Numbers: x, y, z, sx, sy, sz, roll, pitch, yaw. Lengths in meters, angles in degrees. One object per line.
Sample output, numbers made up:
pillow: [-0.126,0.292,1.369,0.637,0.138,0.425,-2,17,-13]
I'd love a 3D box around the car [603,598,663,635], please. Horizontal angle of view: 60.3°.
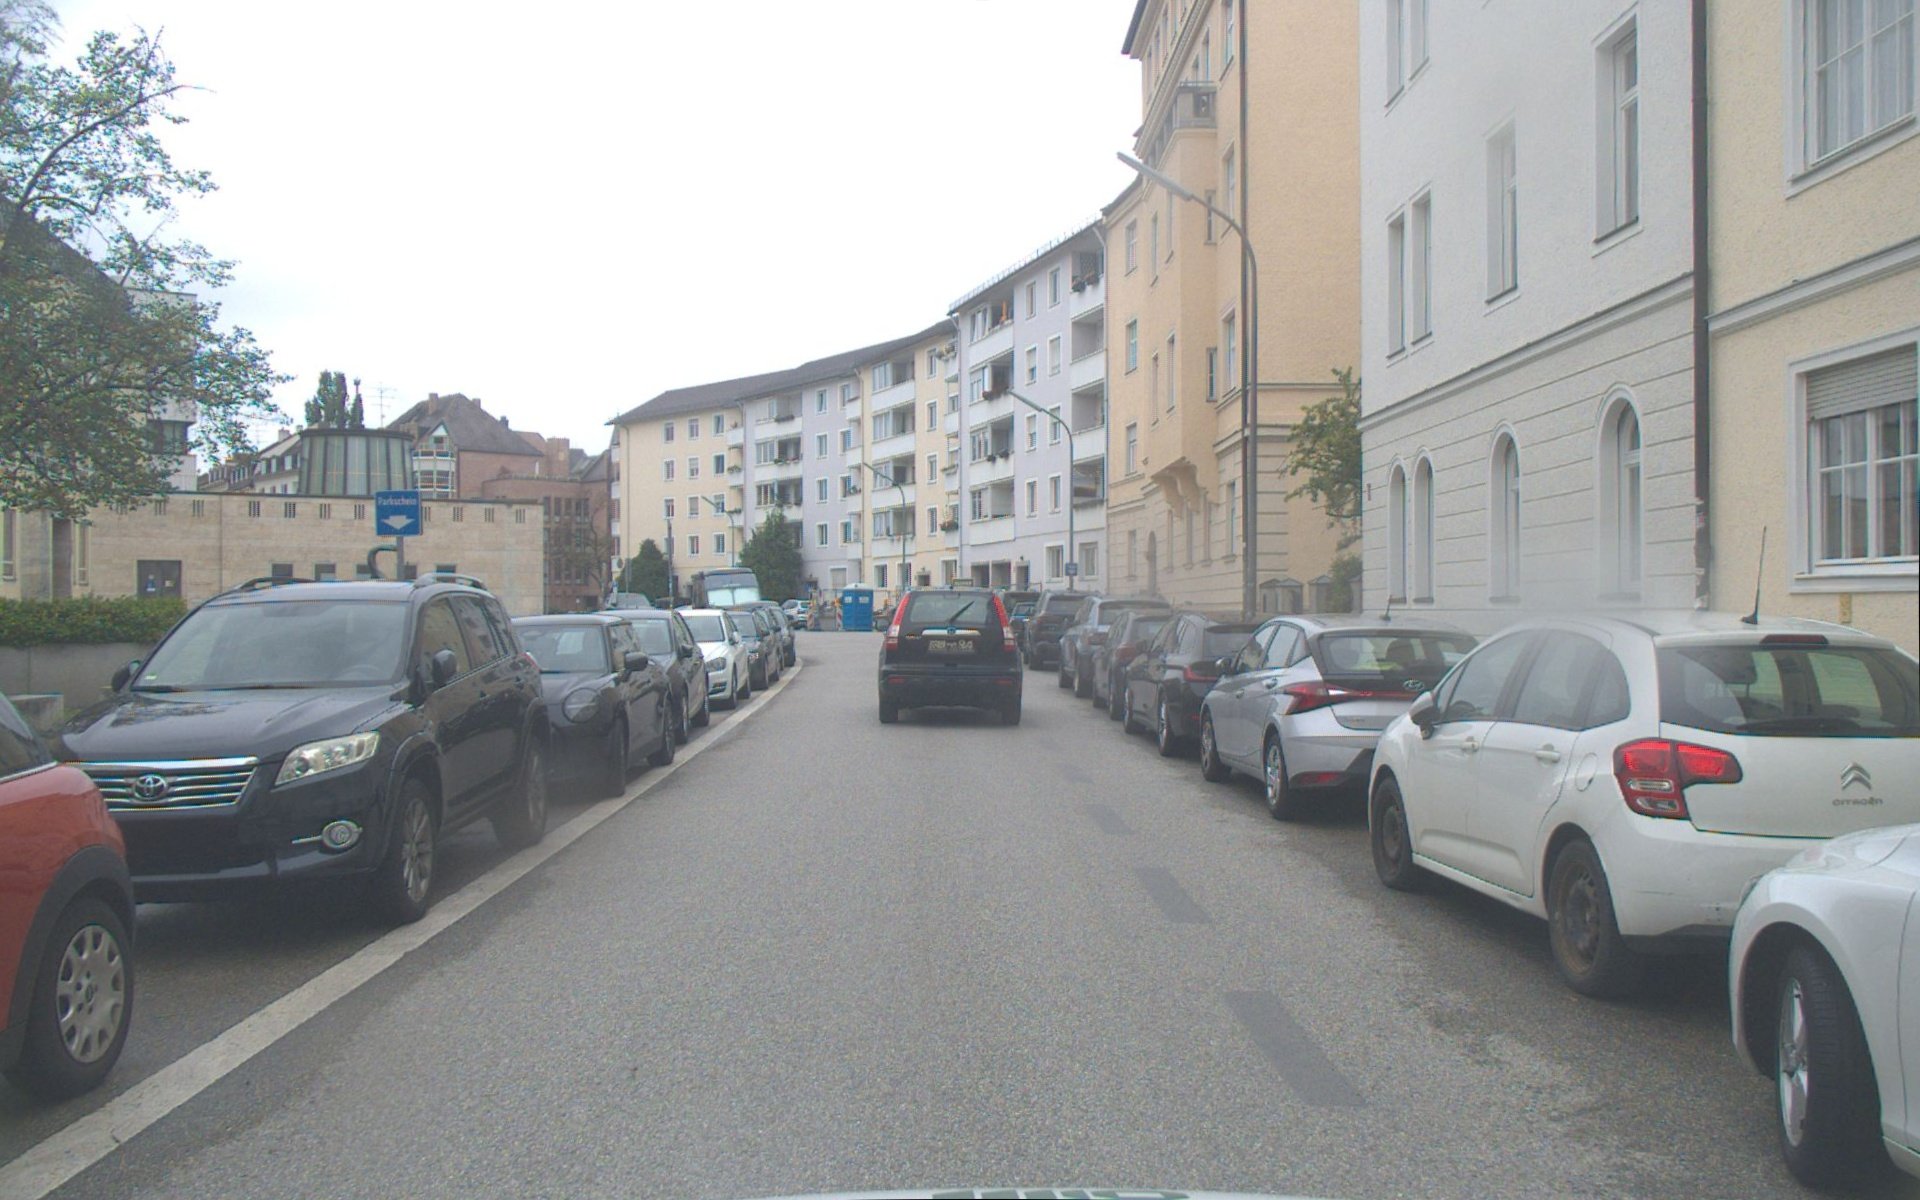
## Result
car: [-15.524,0.772,78.383,1.659,1.737,4.472,0,0,-27]

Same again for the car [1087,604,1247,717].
car: [2.802,0.782,23.213,1.645,1.452,4.086,0,0,-1]

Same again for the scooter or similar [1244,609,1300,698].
scooter or similar: [4.240,0.718,22.554,0.475,1.184,1.171,1,-1,-3]

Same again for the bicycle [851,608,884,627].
bicycle: [-5.305,1.014,94.655,1.840,1.110,0.561,0,-1,-23]

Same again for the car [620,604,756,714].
car: [-4.063,0.833,25.264,1.624,1.479,4.070,-2,0,-4]

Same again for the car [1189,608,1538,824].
car: [3.025,0.794,13.294,1.645,1.452,4.165,0,0,-2]

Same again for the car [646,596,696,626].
car: [-18.914,0.722,108.216,1.709,1.911,3.952,1,0,-34]

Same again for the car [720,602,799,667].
car: [-4.835,0.796,40.343,1.764,1.430,4.450,-2,0,-6]

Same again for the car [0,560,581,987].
car: [-3.454,0.732,9.168,1.709,1.695,4.447,-3,0,-2]

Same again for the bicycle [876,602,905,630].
bicycle: [-3.683,0.839,86.991,0.953,1.413,2.552,0,0,-16]

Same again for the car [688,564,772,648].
car: [-7.929,0.181,56.501,2.128,2.688,5.993,-1,0,-15]

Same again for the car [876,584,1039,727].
car: [-0.125,0.665,21.578,1.854,1.676,3.987,0,0,-4]

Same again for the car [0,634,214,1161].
car: [-3.471,0.822,3.861,1.708,1.411,3.917,1,0,-1]

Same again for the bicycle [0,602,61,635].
bicycle: [-29.598,0.584,52.339,1.915,1.032,0.623,0,0,-16]

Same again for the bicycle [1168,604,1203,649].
bicycle: [5.855,0.685,43.086,0.567,1.102,1.953,-3,0,-1]

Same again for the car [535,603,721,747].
car: [-3.845,0.810,19.747,1.624,1.479,3.971,-2,0,-4]

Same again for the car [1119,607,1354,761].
car: [2.836,0.806,17.871,1.645,1.452,4.389,0,0,-2]

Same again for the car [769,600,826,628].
car: [-9.025,0.774,91.672,1.705,1.509,3.962,1,0,-29]

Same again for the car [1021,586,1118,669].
car: [2.469,0.612,38.204,1.831,1.747,4.864,1,0,-1]

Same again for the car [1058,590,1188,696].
car: [2.697,0.693,28.294,1.687,1.663,4.456,0,0,-1]

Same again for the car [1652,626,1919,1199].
car: [3.126,0.794,3.166,1.645,1.434,4.441,0,0,-2]

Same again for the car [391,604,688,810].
car: [-3.480,0.809,14.377,1.646,1.479,3.868,-2,0,-2]

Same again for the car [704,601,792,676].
car: [-4.507,0.781,35.521,1.624,1.479,3.309,-2,0,-4]

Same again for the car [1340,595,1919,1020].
car: [3.213,0.747,7.998,1.645,1.507,4.165,0,0,-2]

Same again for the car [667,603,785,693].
car: [-4.233,0.824,30.467,1.720,1.479,4.393,-2,0,-3]

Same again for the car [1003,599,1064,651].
car: [2.207,0.735,50.292,1.673,1.472,3.829,1,0,0]

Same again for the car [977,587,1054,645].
car: [1.805,0.521,55.193,1.745,1.838,4.267,1,0,-9]
